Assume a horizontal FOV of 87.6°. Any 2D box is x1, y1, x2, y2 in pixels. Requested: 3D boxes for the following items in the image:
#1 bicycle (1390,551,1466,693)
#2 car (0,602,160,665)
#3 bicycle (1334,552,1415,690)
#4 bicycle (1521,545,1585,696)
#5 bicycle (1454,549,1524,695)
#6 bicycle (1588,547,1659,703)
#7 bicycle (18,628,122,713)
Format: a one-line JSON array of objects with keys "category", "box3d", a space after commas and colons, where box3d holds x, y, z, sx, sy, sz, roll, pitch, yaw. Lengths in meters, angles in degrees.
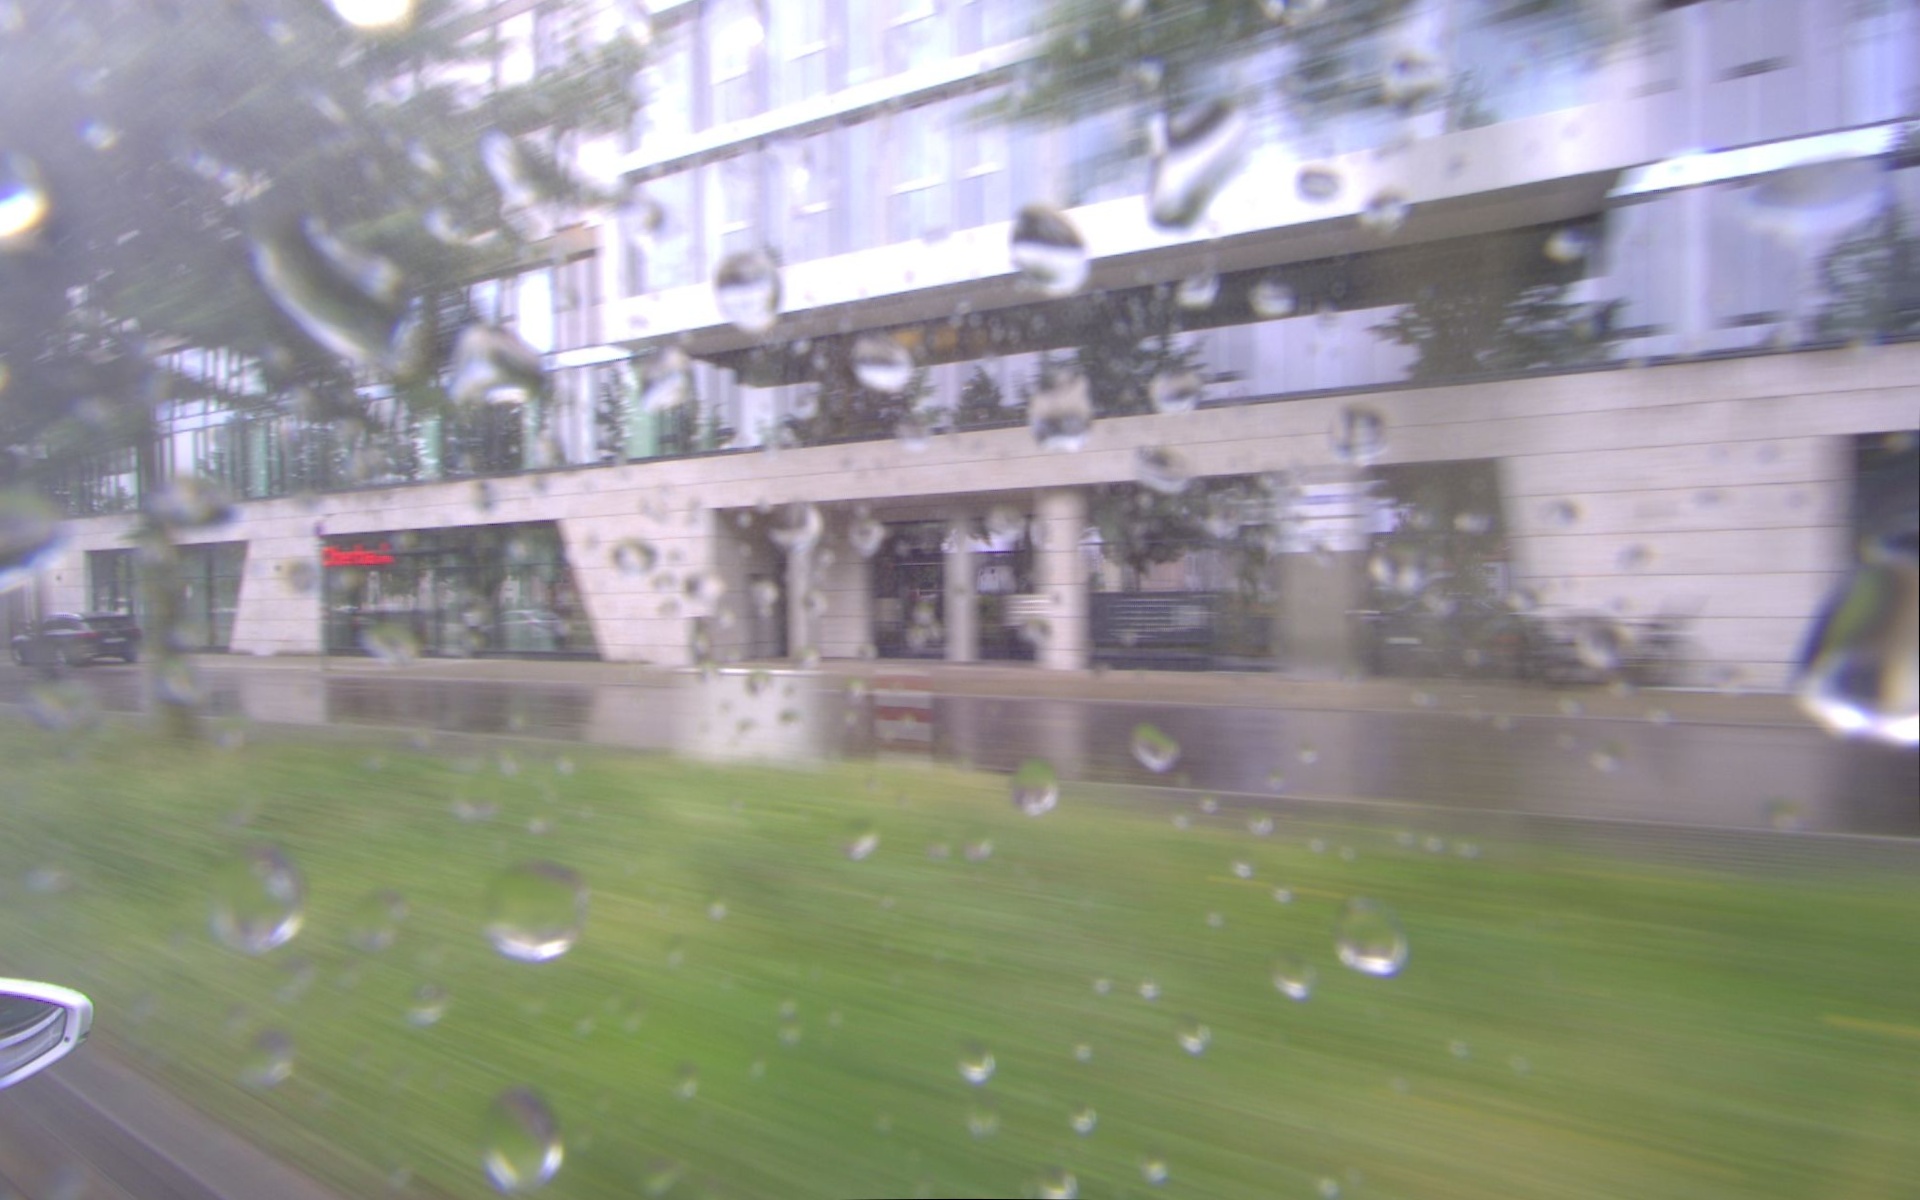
[{"category": "bicycle", "box3d": [6.865, 0.301, 14.603, 0.697, 1.885, 2.675, 0, 0, 32]}, {"category": "car", "box3d": [-25.672, 0.911, 29.096, 4.956, 1.523, 1.989, 1, 5, 29]}, {"category": "bicycle", "box3d": [6.259, 0.287, 15.025, 0.697, 1.885, 2.675, 0, 0, 32]}, {"category": "bicycle", "box3d": [8.229, 0.263, 13.864, 0.697, 1.885, 2.675, 0, 0, 32]}, {"category": "bicycle", "box3d": [7.540, 0.289, 14.212, 0.697, 1.885, 2.675, 0, 0, 32]}, {"category": "bicycle", "box3d": [8.855, 0.311, 13.439, 0.697, 1.885, 2.675, 0, 0, 32]}, {"category": "bicycle", "box3d": [-10.200, 0.775, 11.455, 1.873, 0.833, 0.341, 2, 1, 31]}]
